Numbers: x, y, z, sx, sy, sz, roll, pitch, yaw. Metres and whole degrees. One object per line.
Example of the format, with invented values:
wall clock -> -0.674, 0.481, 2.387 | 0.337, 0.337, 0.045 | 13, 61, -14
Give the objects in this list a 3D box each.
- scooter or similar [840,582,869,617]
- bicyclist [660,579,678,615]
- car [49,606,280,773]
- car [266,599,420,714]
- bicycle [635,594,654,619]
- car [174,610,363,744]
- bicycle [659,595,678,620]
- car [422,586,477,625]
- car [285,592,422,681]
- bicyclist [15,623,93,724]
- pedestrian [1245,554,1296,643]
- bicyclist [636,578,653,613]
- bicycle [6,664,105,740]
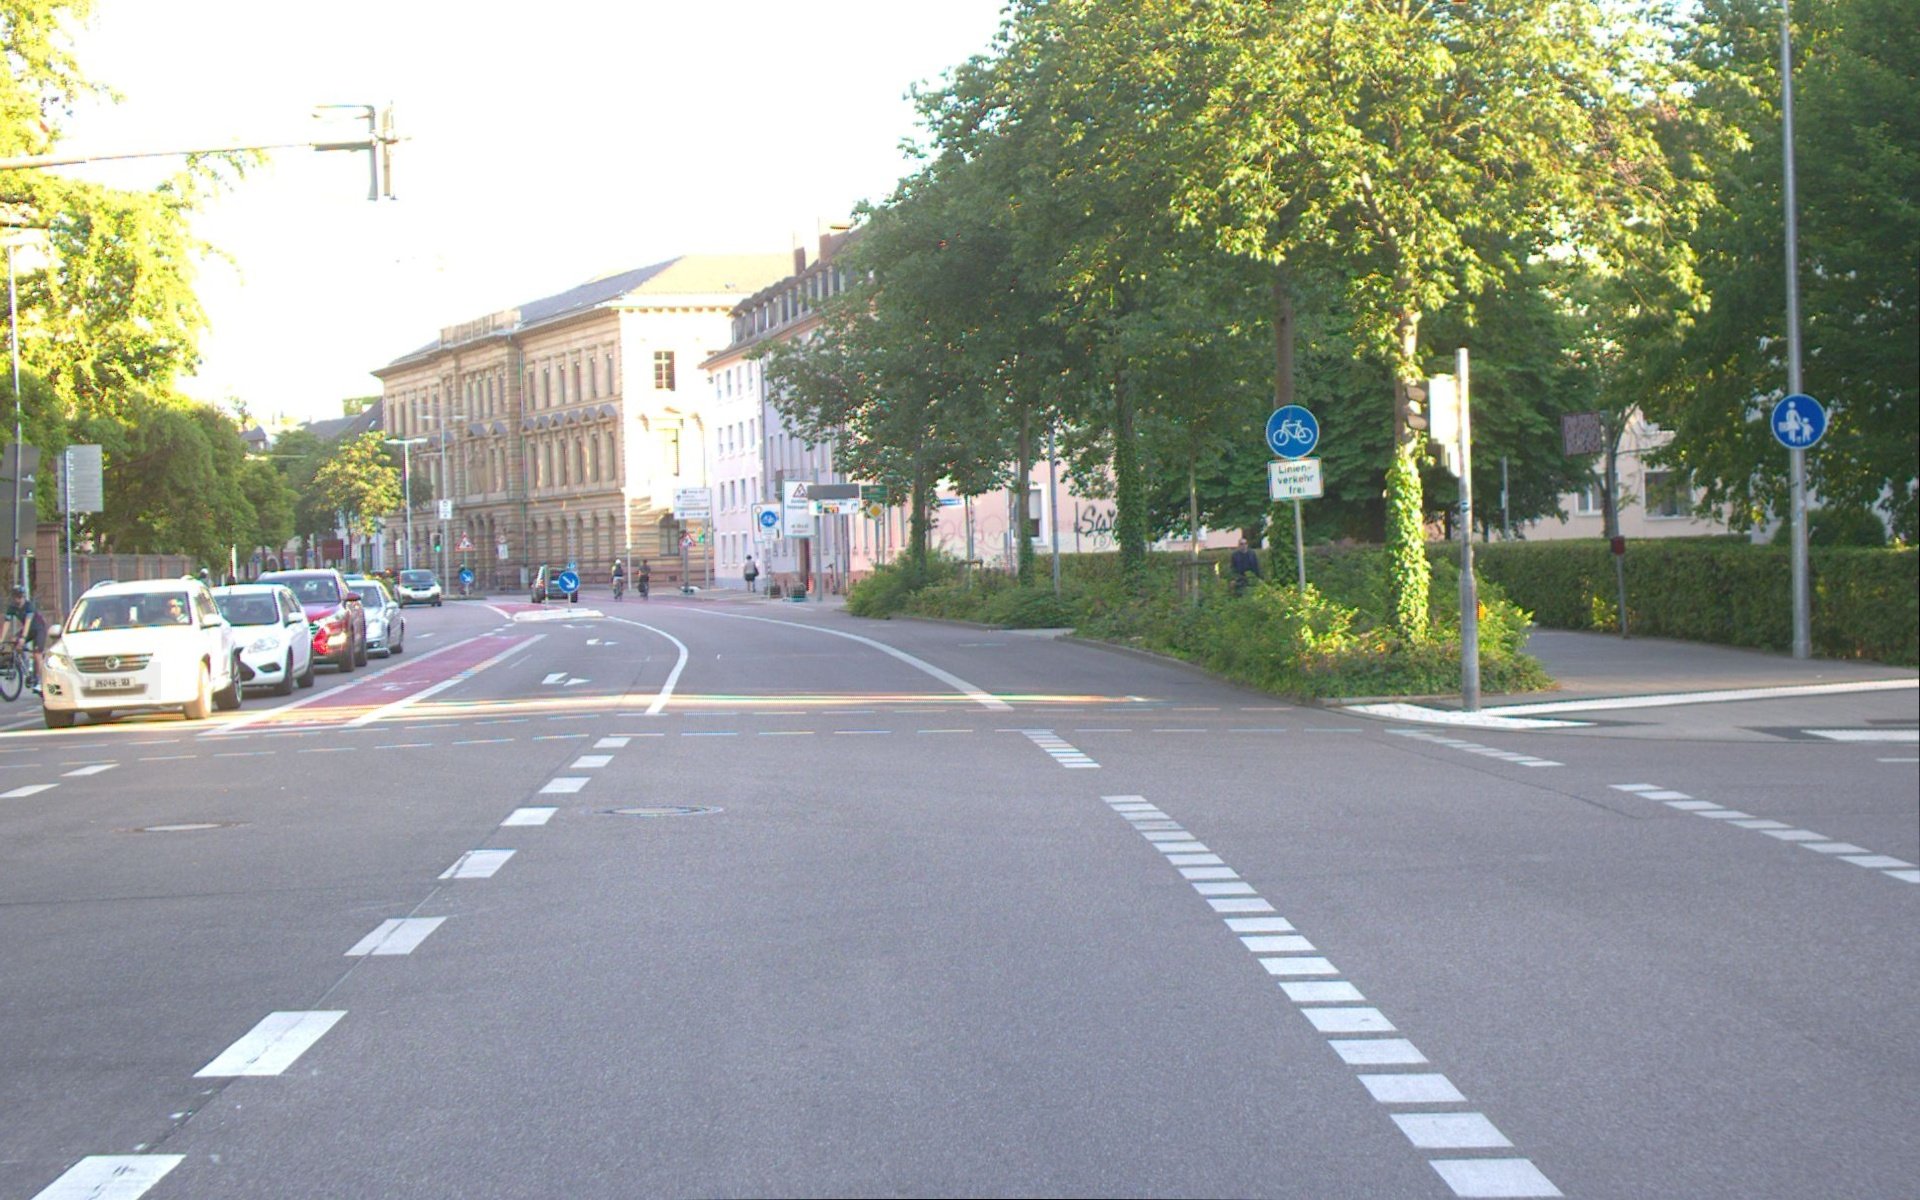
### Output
scooter or similar -> -4.170, -0.026, 135.545 | 0.629, 1.332, 2.401 | -1, 0, -14
bicyclist -> -12.014, -0.130, 141.870 | 0.652, 1.470, 0.941 | 1, 0, -8
car -> -9.256, 0.992, 40.325 | 1.916, 1.690, 4.427 | -3, 1, -5
car -> -9.884, 0.866, 55.347 | 1.916, 1.619, 4.640 | -3, 1, -5
bicycle -> -13.048, 0.274, 142.207 | 0.652, 1.012, 2.198 | 1, 0, -9
car -> -9.395, 1.010, 47.060 | 1.916, 1.578, 4.675 | -3, 1, -5
bicycle -> -12.014, 0.294, 141.868 | 0.652, 1.012, 2.198 | 1, 0, -8
car -> -21.455, 0.230, 144.350 | 1.848, 1.521, 4.001 | -3, 1, -14
car -> -10.905, 0.628, 62.050 | 1.916, 1.413, 4.771 | -3, 1, -5
bicyclist -> -13.246, 1.062, 50.263 | 0.855, 1.426, 0.943 | -2, 0, 0
pedestrian -> 6.179, -0.039, 68.447 | 0.769, 1.733, 0.807 | -2, 0, -10
bicyclist -> -13.056, -0.204, 142.318 | 0.652, 1.441, 0.879 | 1, 0, -9
bicycle -> -13.227, 1.480, 50.324 | 0.855, 1.012, 2.198 | -2, 1, 0
